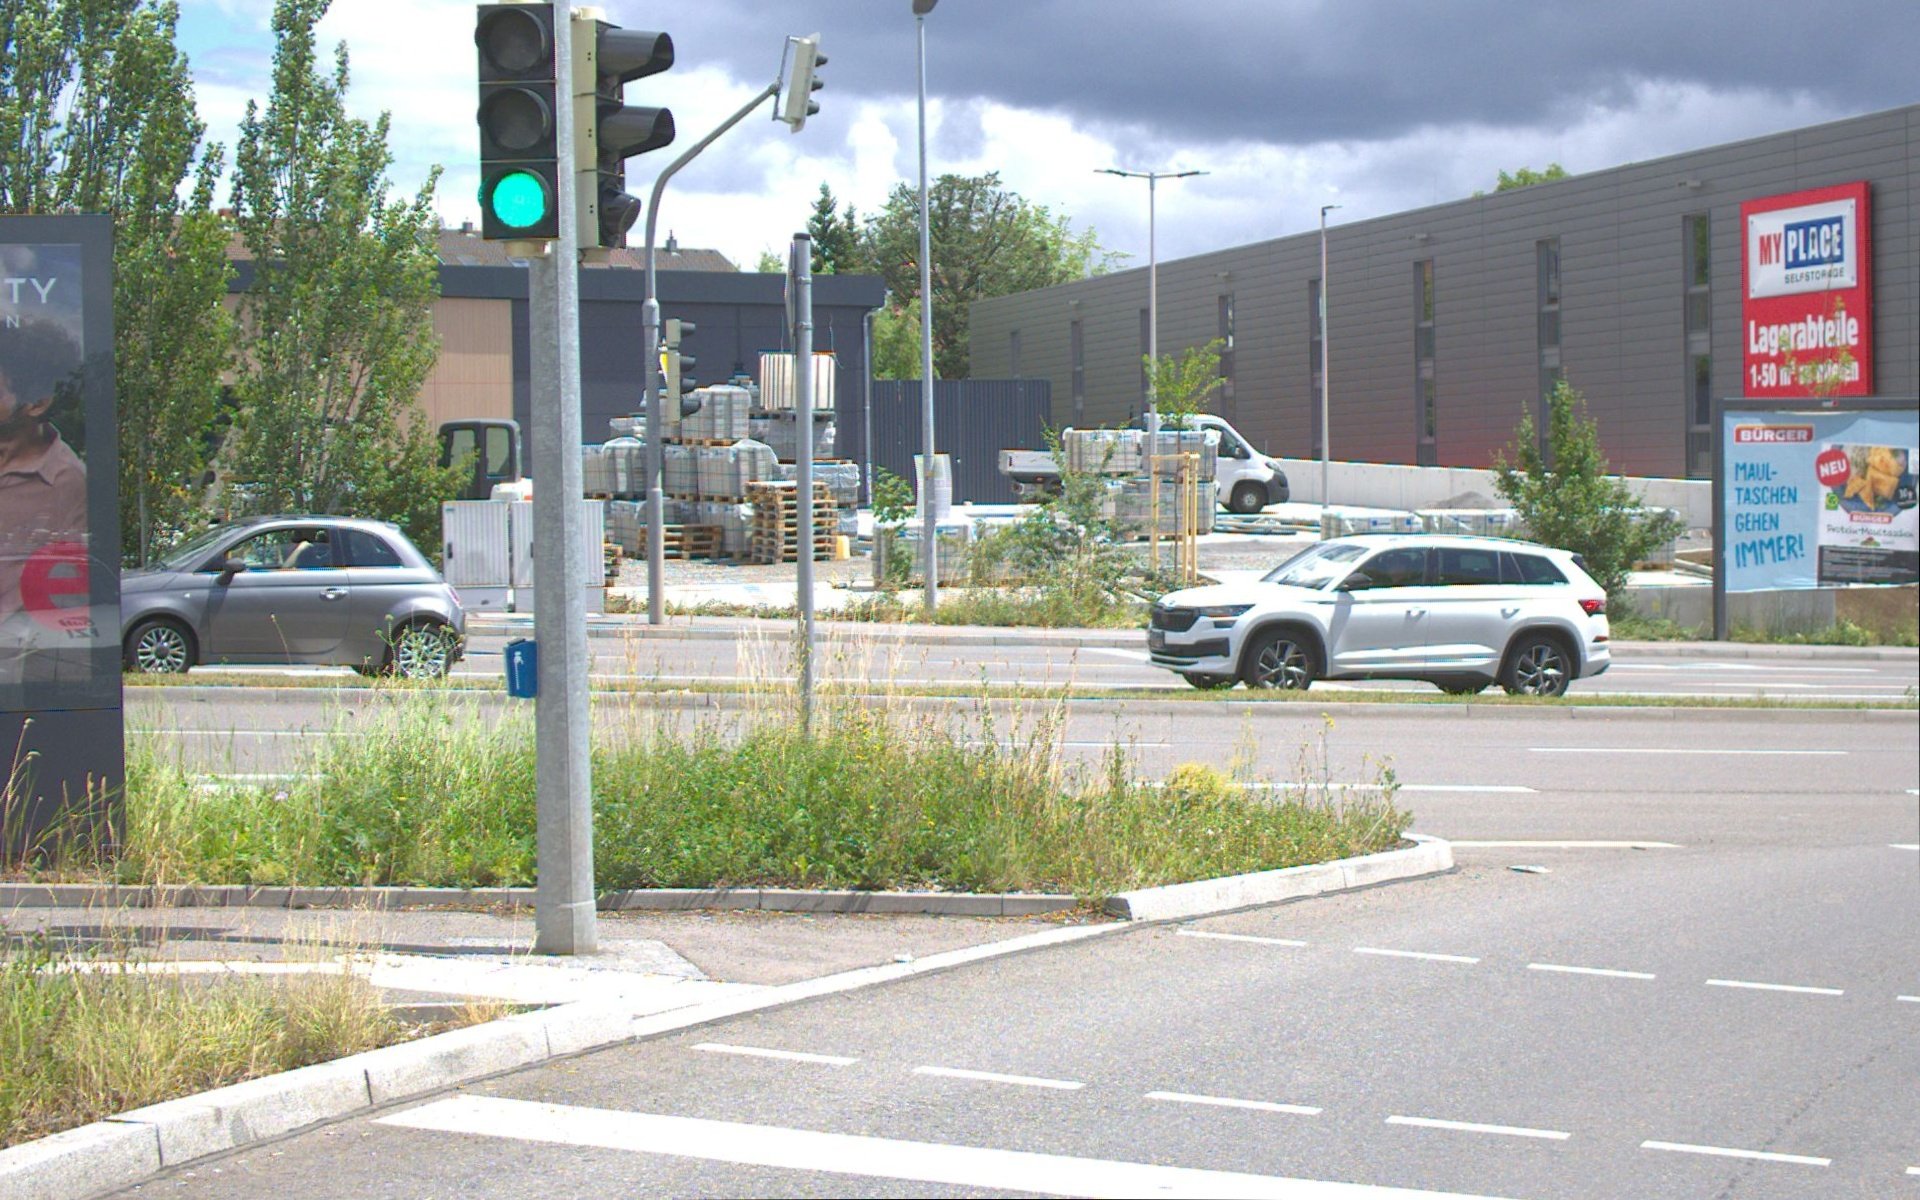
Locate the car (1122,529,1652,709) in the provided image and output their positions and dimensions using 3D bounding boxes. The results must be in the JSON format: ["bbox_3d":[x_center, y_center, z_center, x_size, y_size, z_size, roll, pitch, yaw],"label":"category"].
[{"bbox_3d":[4.217,0.186,34.057,4.884,1.653,1.734,1,2,-17],"label":"car"}]

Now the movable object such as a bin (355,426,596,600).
[{"bbox_3d":[-7.462,-1.335,53.208,3.403,2.529,2.153,2,1,-2],"label":"movable object such as a bin"}]

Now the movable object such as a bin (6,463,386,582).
[{"bbox_3d":[-14.763,-1.531,66.803,6.921,2.006,2.297,-2,2,-6],"label":"movable object such as a bin"}]

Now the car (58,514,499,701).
[{"bbox_3d":[-6.011,0.027,30.335,3.512,1.455,1.586,-2,3,-24],"label":"car"}]

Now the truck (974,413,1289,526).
[{"bbox_3d":[3.695,-2.835,74.650,6.558,2.138,2.001,-3,2,-4],"label":"truck"}]
